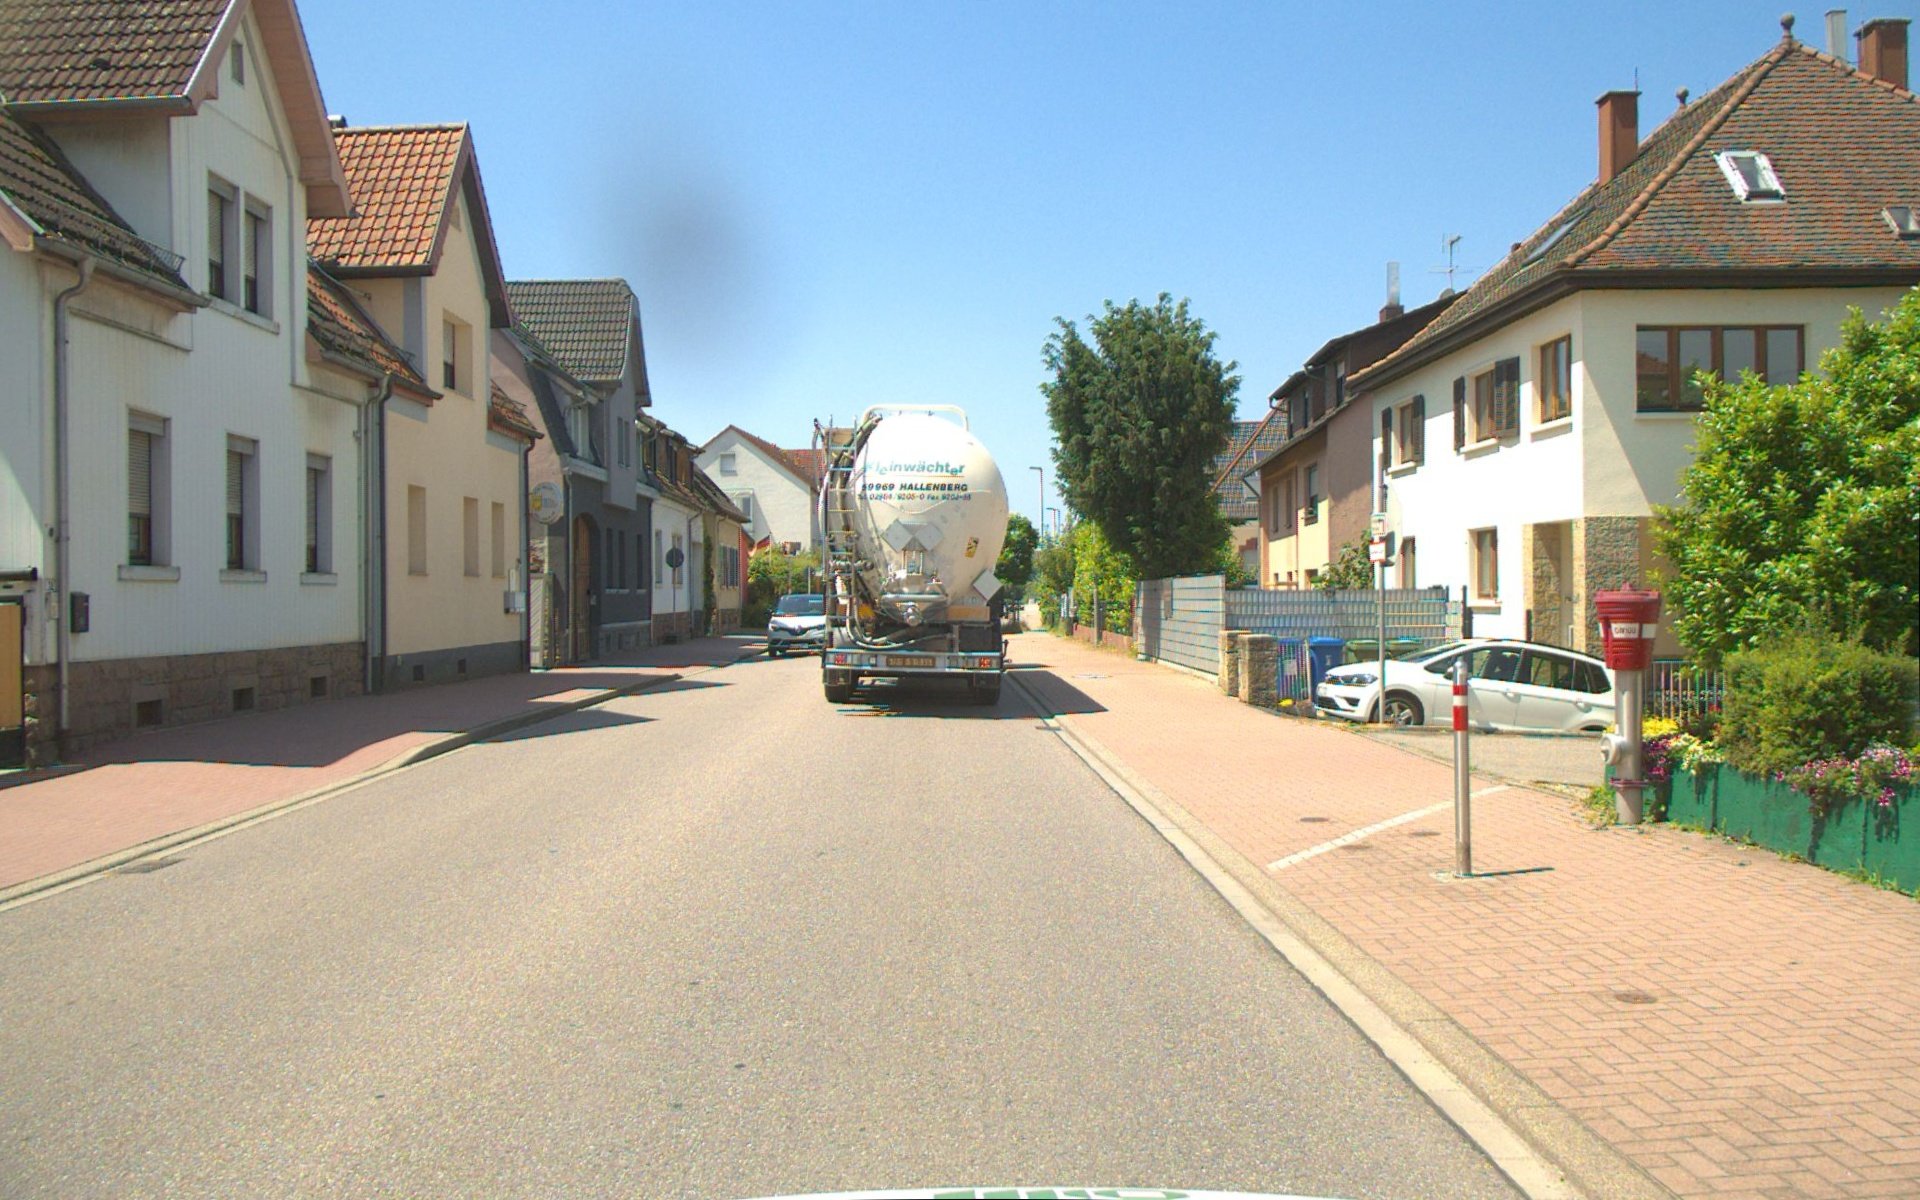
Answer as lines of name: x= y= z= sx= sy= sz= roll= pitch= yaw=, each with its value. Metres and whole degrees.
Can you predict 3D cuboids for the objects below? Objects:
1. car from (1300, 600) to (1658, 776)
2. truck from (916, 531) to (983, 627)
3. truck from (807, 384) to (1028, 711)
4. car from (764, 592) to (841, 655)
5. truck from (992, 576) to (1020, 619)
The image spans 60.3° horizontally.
car: x=6.962 y=1.154 z=22.494 sx=4.090 sy=1.613 sz=1.906 roll=10 pitch=0 yaw=-1
truck: x=-0.399 y=-0.844 z=74.297 sx=2.676 sy=4.029 sz=8.143 roll=1 pitch=-1 yaw=2
truck: x=-0.651 y=-0.619 z=24.685 sx=2.677 sy=4.029 sz=8.138 roll=1 pitch=-1 yaw=-2
car: x=-4.378 y=0.642 z=46.436 sx=1.814 sy=1.598 sz=4.253 roll=-3 pitch=0 yaw=-2
truck: x=3.541 y=-0.201 z=127.459 sx=1.952 sy=3.192 sz=9.450 roll=1 pitch=0 yaw=2
